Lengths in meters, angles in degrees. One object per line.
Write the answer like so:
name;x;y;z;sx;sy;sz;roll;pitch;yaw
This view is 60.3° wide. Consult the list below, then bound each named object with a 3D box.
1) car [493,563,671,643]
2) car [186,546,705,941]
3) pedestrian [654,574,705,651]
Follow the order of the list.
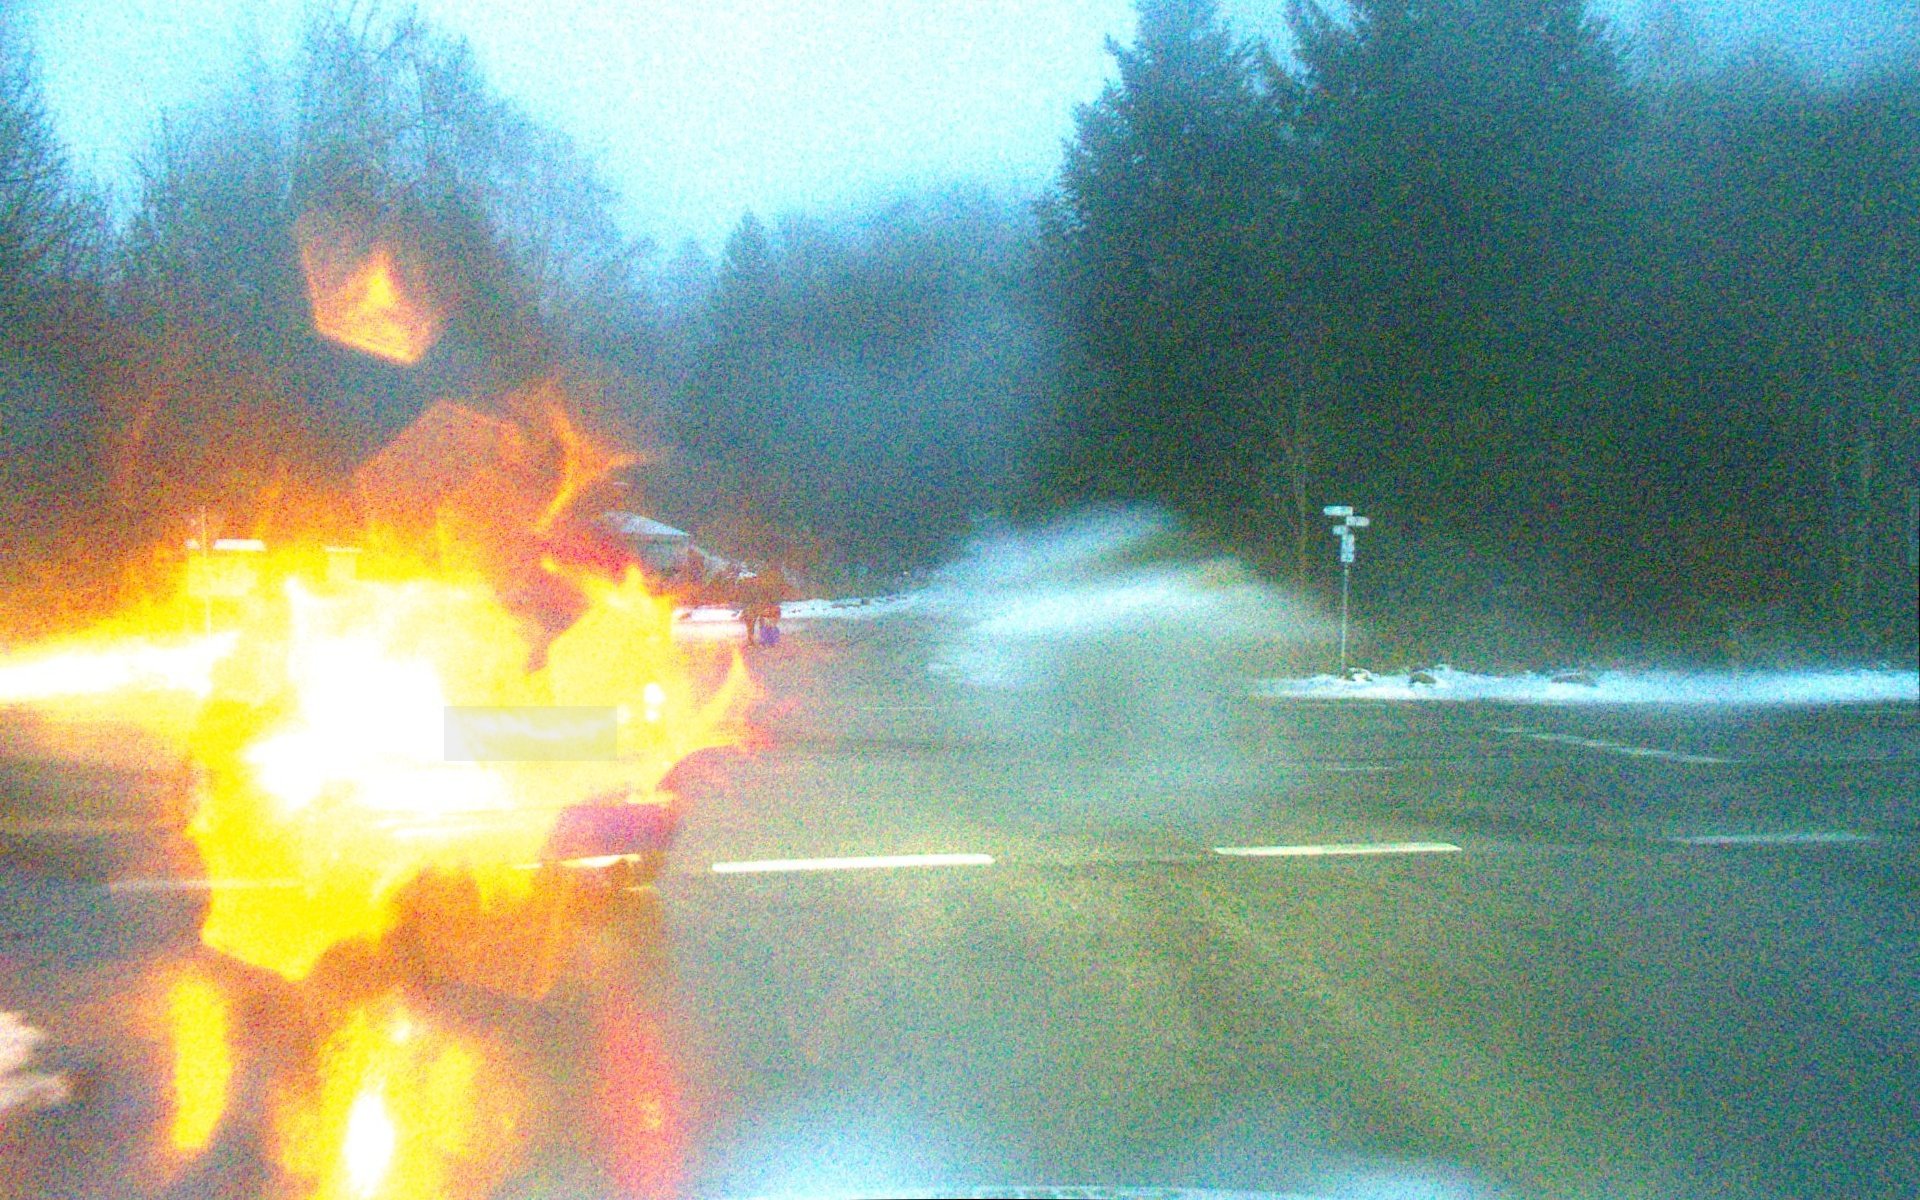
car;-9.447;0.081;41.497;3.863;1.914;2.001;1;-1;7
car;-2.885;0.561;8.696;1.676;1.579;3.813;1;0;-32
pedestrian;-6.933;0.309;40.870;0.940;1.860;0.926;1;-1;12
